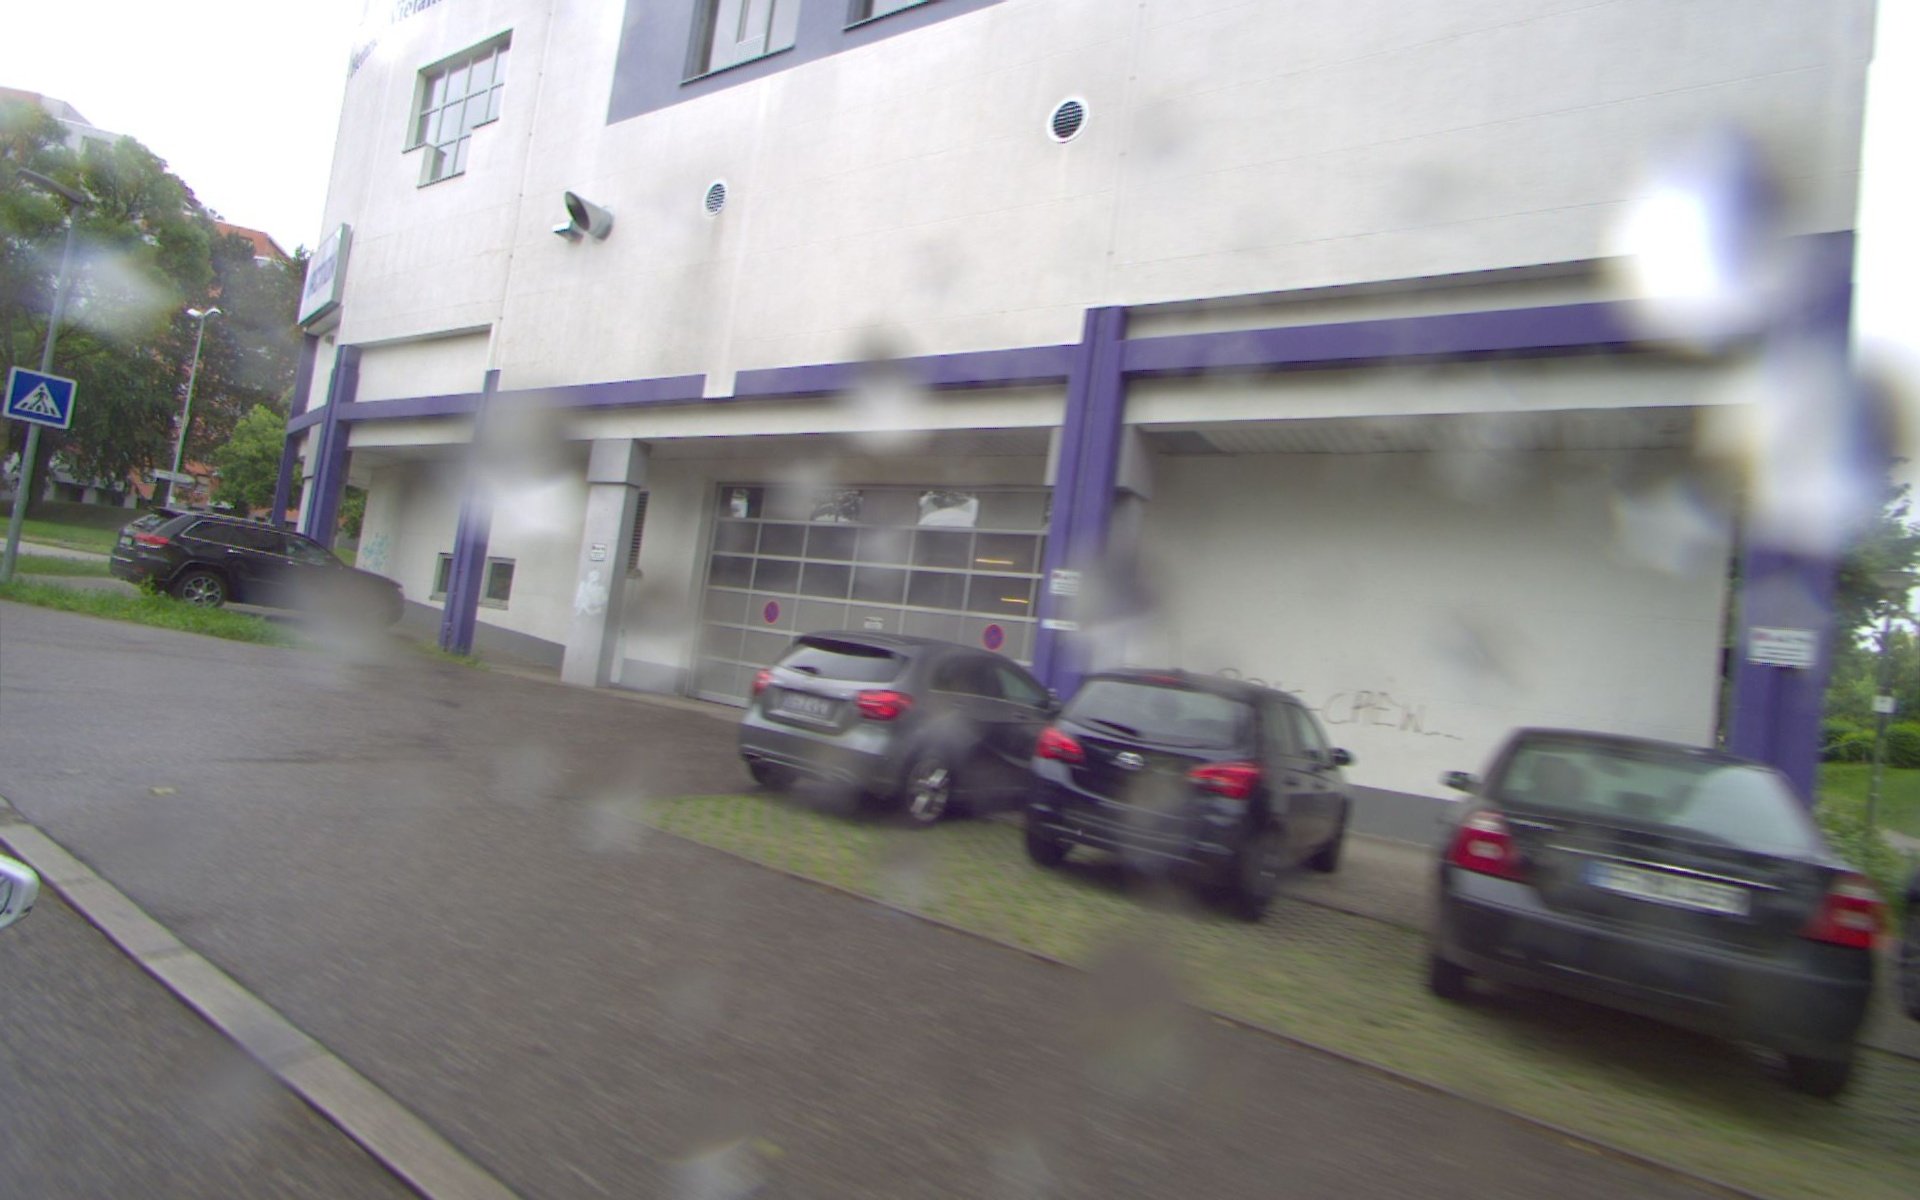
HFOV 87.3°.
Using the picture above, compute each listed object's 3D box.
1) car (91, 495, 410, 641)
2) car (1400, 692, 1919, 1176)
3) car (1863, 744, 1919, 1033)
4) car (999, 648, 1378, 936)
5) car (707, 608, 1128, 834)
[{"bbox_3d":[-13.160,-0.511,18.966,1.799,1.777,4.390,9,-4,33],"label":"car"},{"bbox_3d":[3.699,1.470,5.788,1.692,1.494,4.120,6,-4,29],"label":"car"},{"bbox_3d":[5.923,1.643,4.417,1.737,1.698,4.485,8,-3,29],"label":"car"},{"bbox_3d":[1.982,1.352,7.786,1.692,1.468,3.626,6,-4,31],"label":"car"},{"bbox_3d":[-0.149,1.119,9.223,1.694,1.468,3.945,6,-4,35],"label":"car"}]
